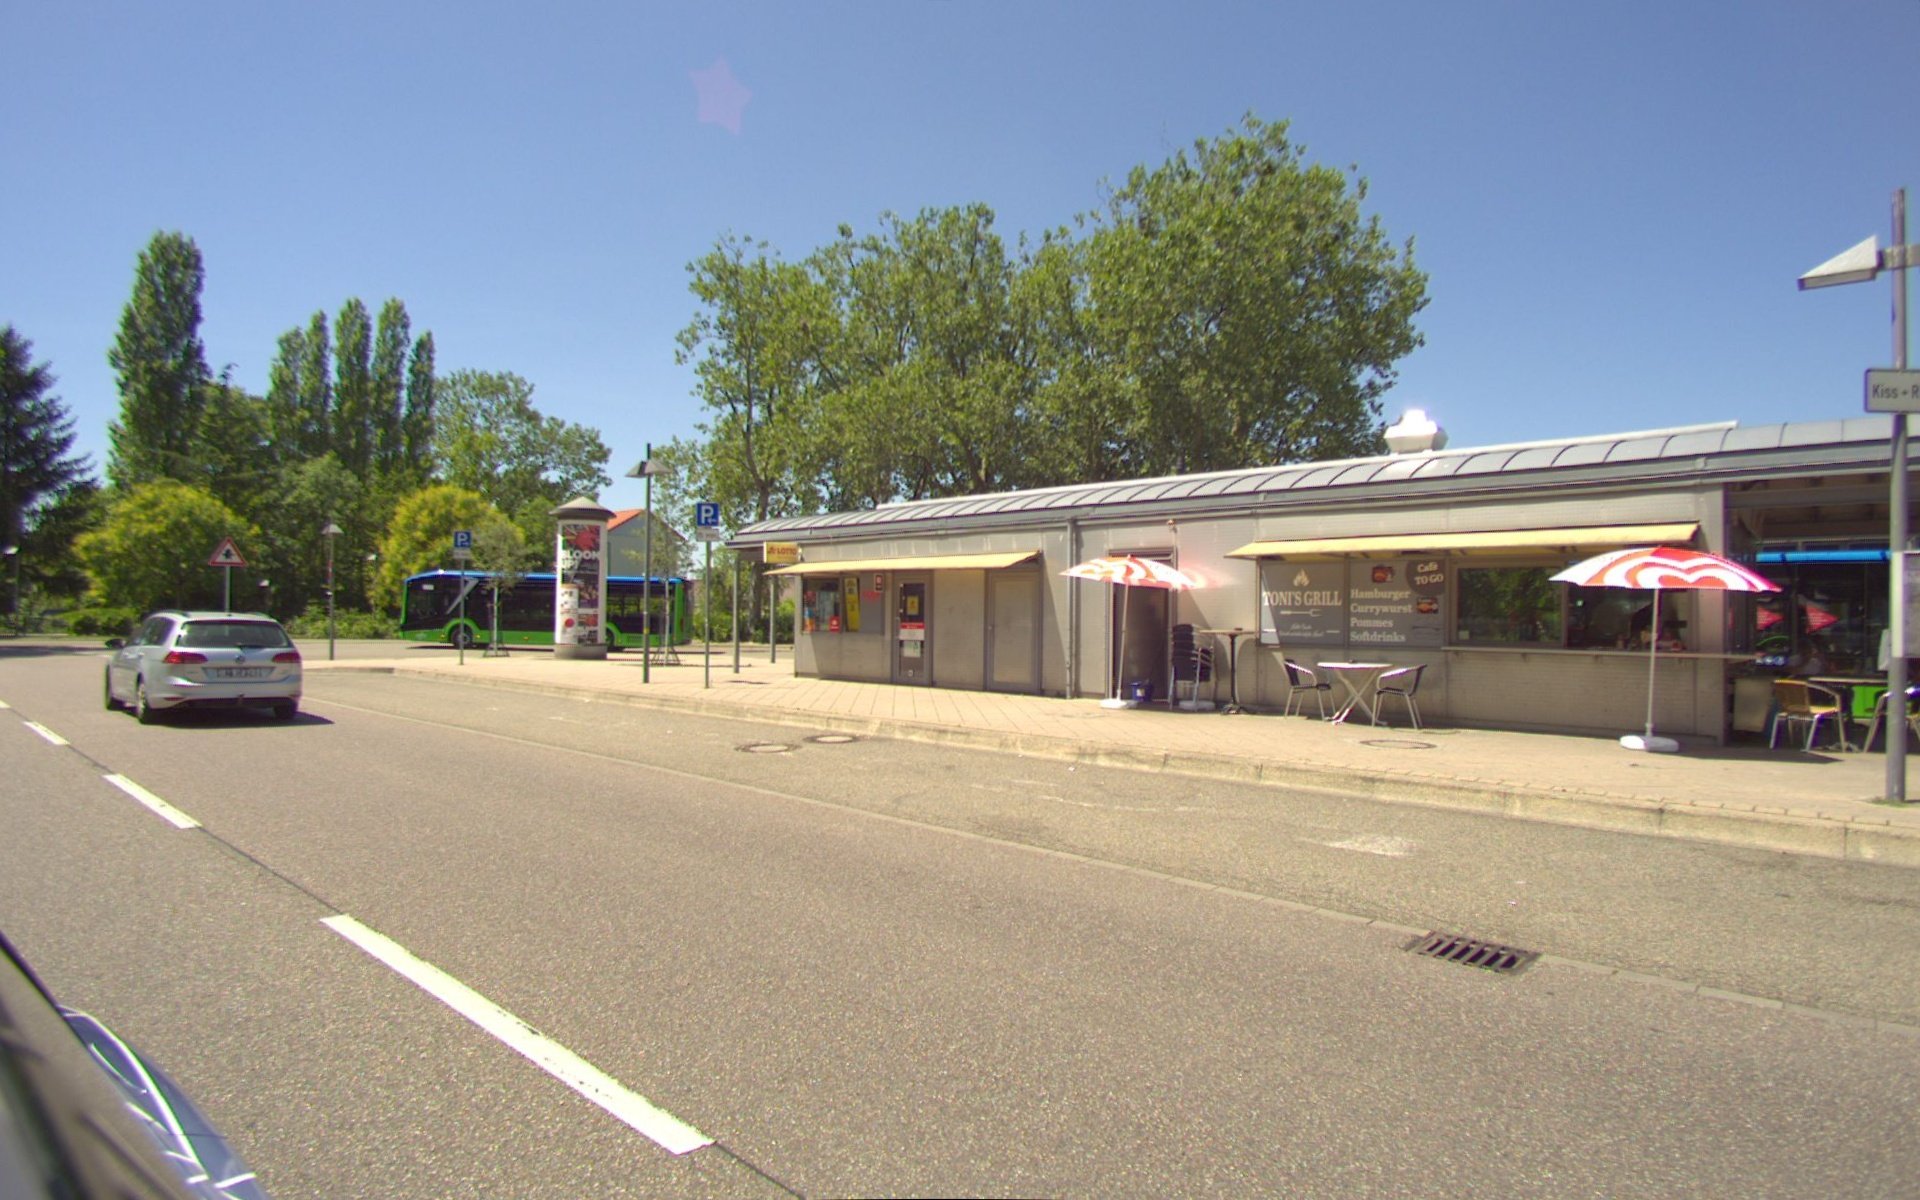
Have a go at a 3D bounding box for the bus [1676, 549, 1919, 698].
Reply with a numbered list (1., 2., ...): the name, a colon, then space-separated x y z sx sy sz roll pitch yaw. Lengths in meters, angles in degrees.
1. bus: 23.311 0.469 19.317 15.518 3.060 2.835 -1 -2 44

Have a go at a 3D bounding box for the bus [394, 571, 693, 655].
1. bus: -17.895 0.572 43.903 12.048 3.553 2.169 0 -1 -1

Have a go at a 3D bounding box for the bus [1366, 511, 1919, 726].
1. bus: 13.730 0.347 18.029 11.848 3.258 2.932 -1 -2 43

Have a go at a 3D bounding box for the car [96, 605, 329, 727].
1. car: -10.534 0.870 14.150 4.157 1.455 1.795 -1 -4 42
